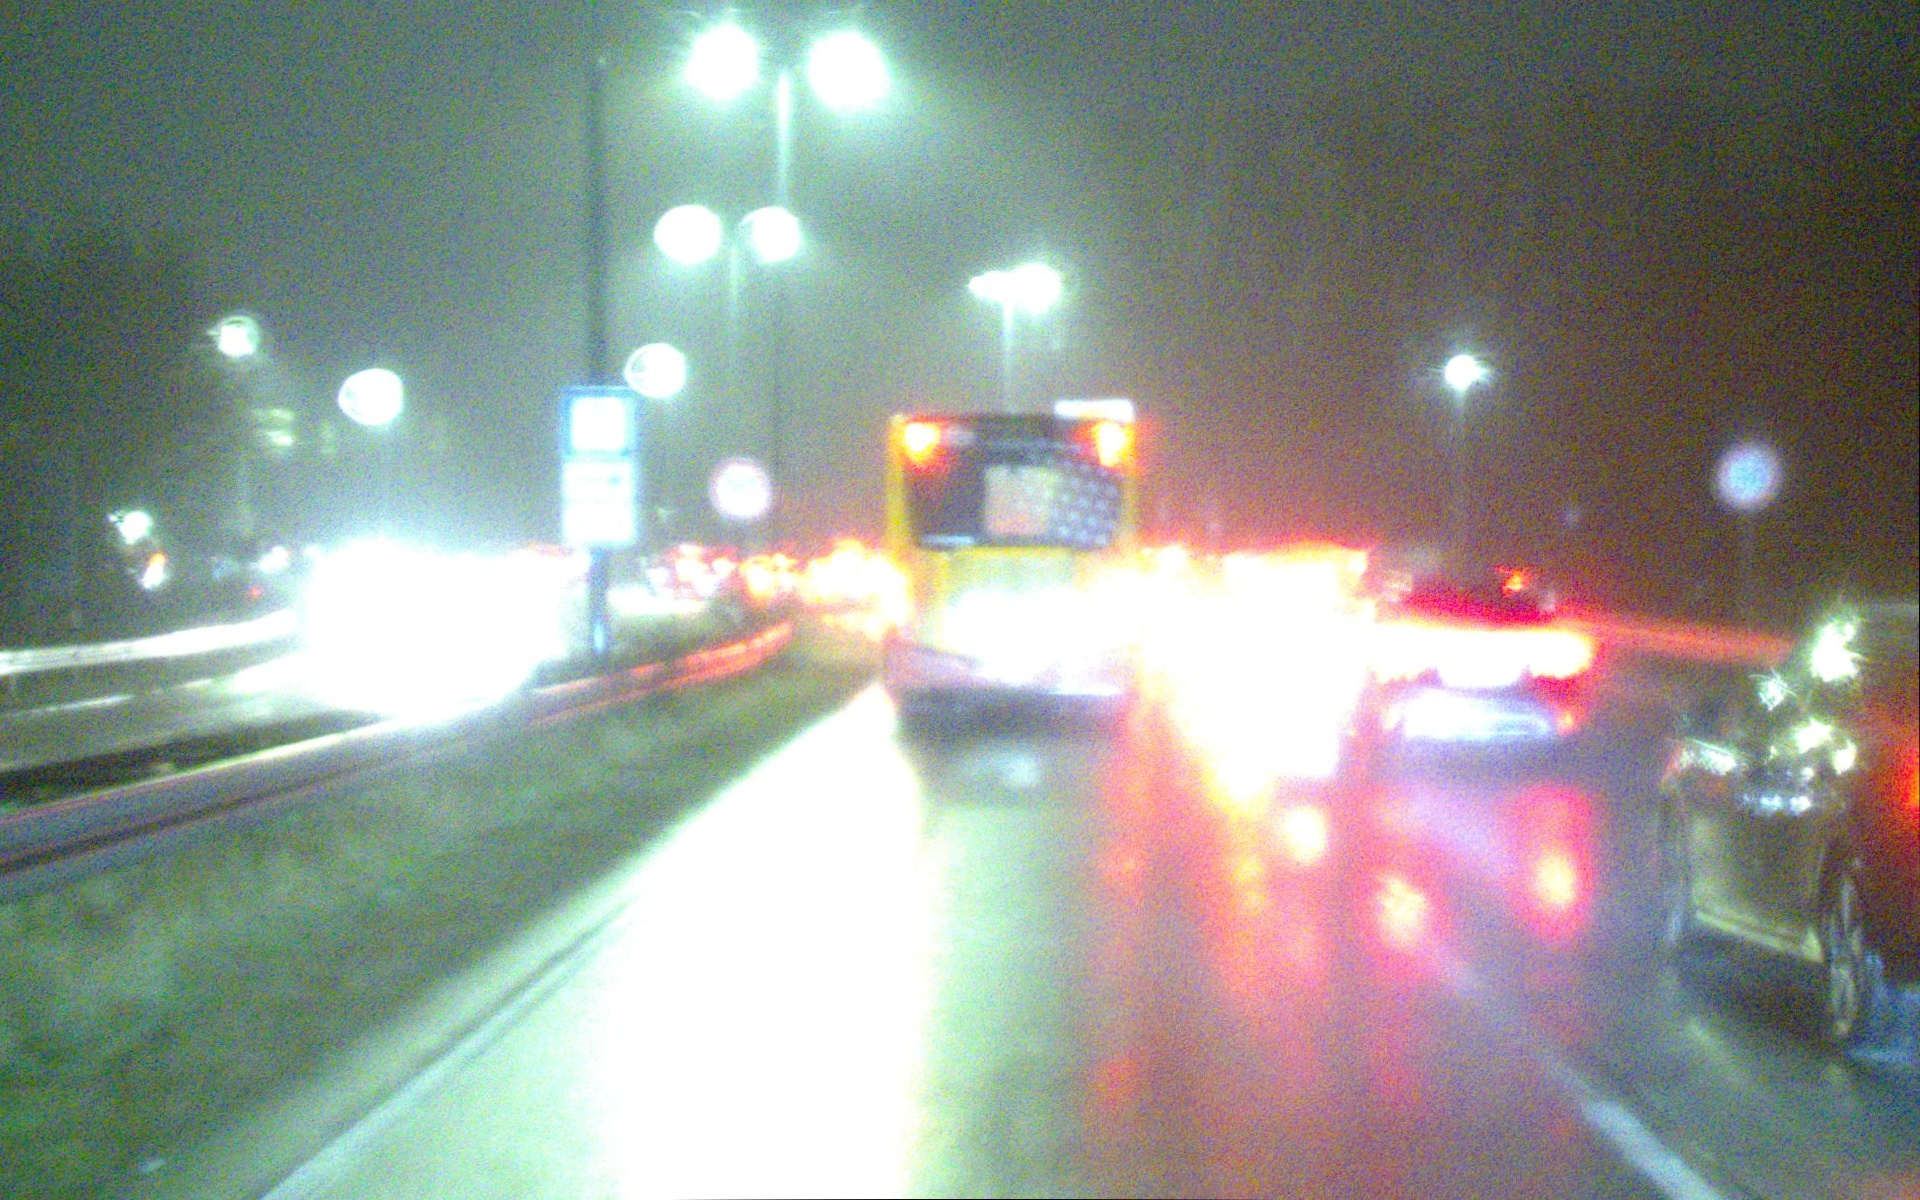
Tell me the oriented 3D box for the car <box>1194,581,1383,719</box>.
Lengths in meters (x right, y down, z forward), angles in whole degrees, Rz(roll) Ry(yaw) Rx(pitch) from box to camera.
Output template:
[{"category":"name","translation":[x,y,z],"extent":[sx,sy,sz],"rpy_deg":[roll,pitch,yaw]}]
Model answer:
[{"category":"car","translation":[3.971,0.572,42.134],"extent":[1.819,1.585,3.777],"rpy_deg":[0,0,-2]}]

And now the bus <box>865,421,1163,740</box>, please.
[{"category":"bus","translation":[0.478,-0.221,37.300],"extent":[2.815,3.014,8.687],"rpy_deg":[1,0,-1]}]

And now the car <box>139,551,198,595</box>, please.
[{"category":"car","translation":[-37.423,-1.278,162.493],"extent":[1.993,2.007,4.001],"rpy_deg":[1,0,-24]}]

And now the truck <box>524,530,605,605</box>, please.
[{"category":"truck","translation":[-13.957,-1.171,121.267],"extent":[1.855,2.384,4.781],"rpy_deg":[-2,4,-18]}]

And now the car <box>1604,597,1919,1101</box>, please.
[{"category":"car","translation":[3.666,0.744,12.439],"extent":[1.731,1.444,4.725],"rpy_deg":[1,0,0]}]

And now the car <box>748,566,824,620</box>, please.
[{"category":"car","translation":[-5.547,-0.220,109.127],"extent":[1.750,1.625,3.624],"rpy_deg":[1,0,-13]}]

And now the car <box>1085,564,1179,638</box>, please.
[{"category":"car","translation":[3.669,0.006,73.878],"extent":[1.779,1.538,3.875],"rpy_deg":[1,0,-1]}]

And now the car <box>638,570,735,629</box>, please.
[{"category":"car","translation":[-9.396,-0.032,117.903],"extent":[2.211,2.007,4.001],"rpy_deg":[0,0,-22]}]

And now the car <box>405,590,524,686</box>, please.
[{"category":"car","translation":[-8.980,0.662,62.594],"extent":[1.620,1.645,4.000],"rpy_deg":[-1,0,-1]}]

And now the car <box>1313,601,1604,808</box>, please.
[{"category":"car","translation":[4.096,0.819,28.801],"extent":[1.739,1.559,3.777],"rpy_deg":[1,0,-2]}]

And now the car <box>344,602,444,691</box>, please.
[{"category":"car","translation":[-13.313,1.074,81.066],"extent":[1.993,2.007,4.001],"rpy_deg":[1,0,-5]}]

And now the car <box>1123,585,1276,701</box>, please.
[{"category":"car","translation":[3.430,0.595,49.833],"extent":[1.819,1.585,3.777],"rpy_deg":[0,0,-2]}]

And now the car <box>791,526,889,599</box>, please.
[{"category":"car","translation":[-3.502,-1.076,99.888],"extent":[1.993,2.007,4.001],"rpy_deg":[1,0,-14]}]

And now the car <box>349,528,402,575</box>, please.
[{"category":"car","translation":[-26.154,-2.144,153.709],"extent":[2.120,2.007,4.001],"rpy_deg":[1,0,-12]}]
